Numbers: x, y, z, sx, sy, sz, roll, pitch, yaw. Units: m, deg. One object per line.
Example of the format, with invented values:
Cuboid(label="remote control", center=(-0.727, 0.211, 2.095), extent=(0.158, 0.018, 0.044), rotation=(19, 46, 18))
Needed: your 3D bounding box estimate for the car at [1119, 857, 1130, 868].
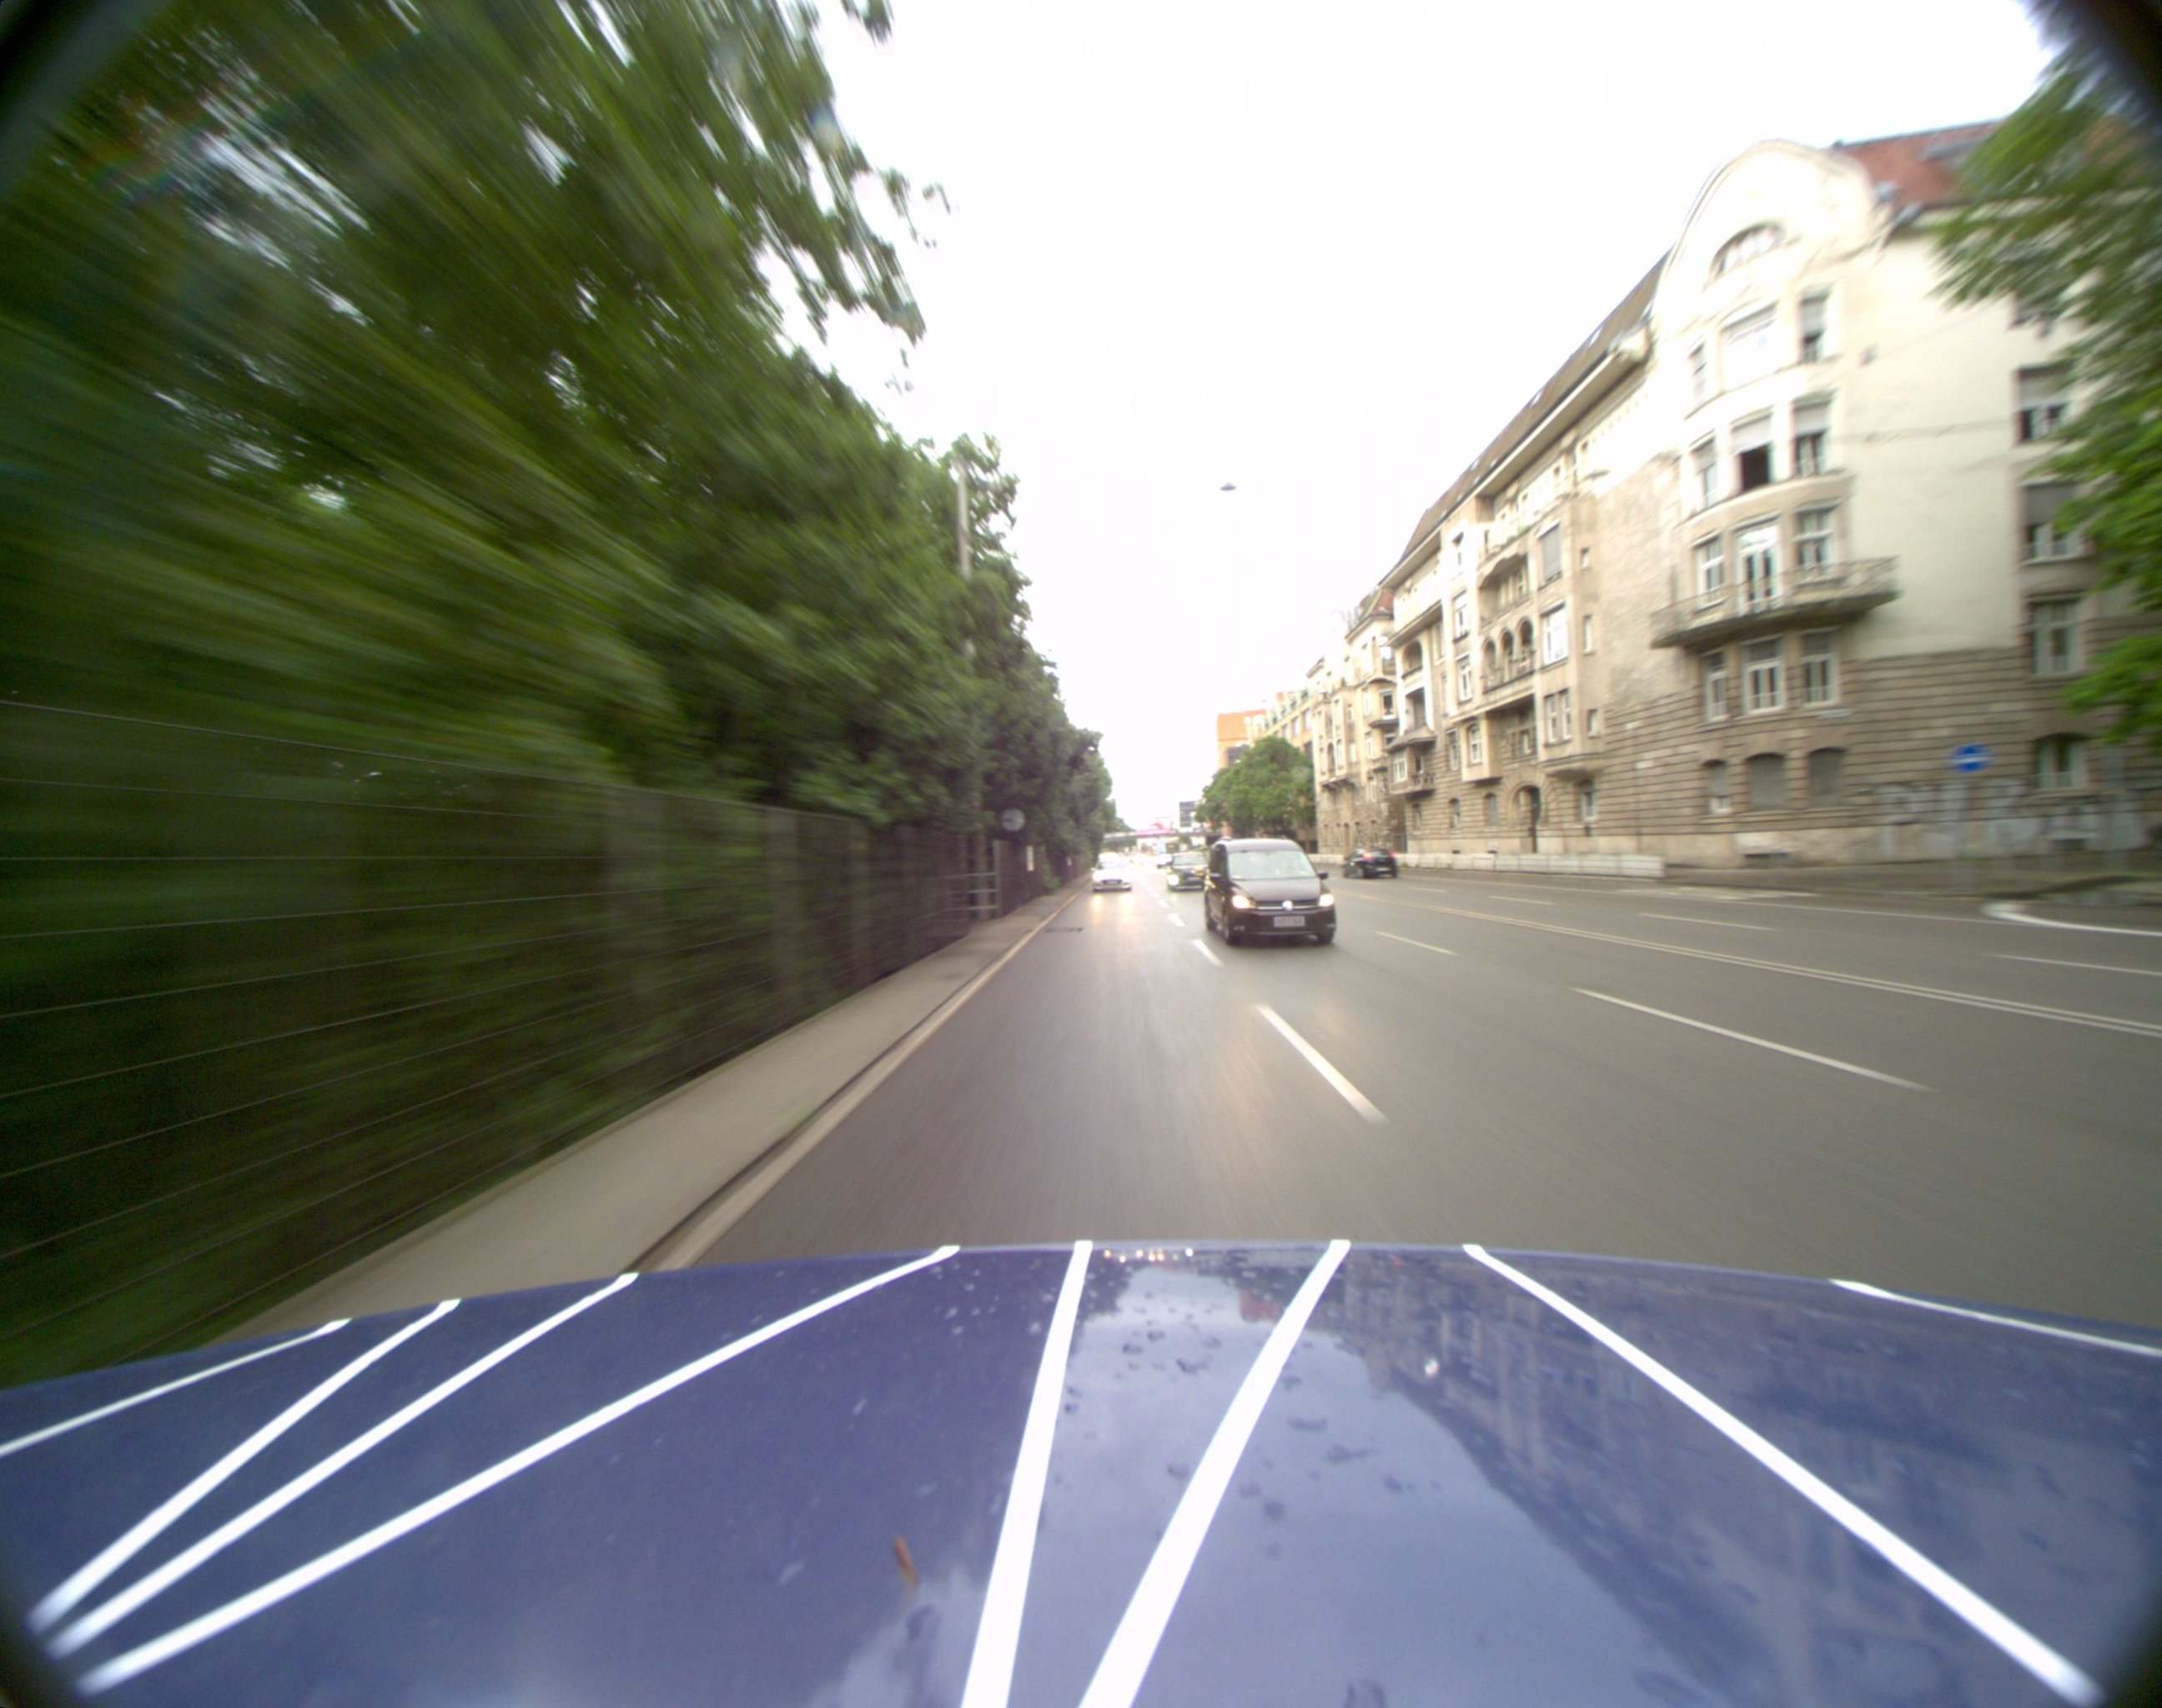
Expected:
Cuboid(label="car", center=(8.276, 1.548, 144.482), extent=(1.878, 1.762, 4.000), rotation=(-5, 1, 2))

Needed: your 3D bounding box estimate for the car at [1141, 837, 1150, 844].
Cuboid(label="car", center=(14.723, -3.126, 174.043), extent=(1.823, 1.602, 4.001), rotation=(-5, 1, 6))

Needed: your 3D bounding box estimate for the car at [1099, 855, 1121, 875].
Cuboid(label="car", center=(2.776, 1.004, 72.756), extent=(1.801, 1.587, 4.000), rotation=(-5, 1, 4))

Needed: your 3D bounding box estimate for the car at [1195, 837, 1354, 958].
Cuboid(label="car", center=(3.249, 0.676, 13.580), extent=(1.842, 1.780, 4.000), rotation=(-2, 0, 1))

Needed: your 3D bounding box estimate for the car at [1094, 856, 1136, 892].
Cuboid(label="car", center=(1.547, 0.909, 35.590), extent=(1.731, 1.431, 4.000), rotation=(-4, 0, 1))

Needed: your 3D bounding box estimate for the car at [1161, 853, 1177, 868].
Cuboid(label="car", center=(9.993, 0.769, 86.622), extent=(1.730, 1.502, 3.732), rotation=(-4, 0, 6))

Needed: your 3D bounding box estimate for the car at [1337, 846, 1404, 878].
Cuboid(label="car", center=(13.588, 0.359, 35.929), extent=(1.705, 1.331, 3.915), rotation=(-3, 0, 2))

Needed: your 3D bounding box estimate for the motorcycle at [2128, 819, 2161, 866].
Cuboid(label="motorcycle", center=(26.766, -0.282, 18.085), extent=(0.504, 1.135, 2.394), rotation=(-3, 0, 5))

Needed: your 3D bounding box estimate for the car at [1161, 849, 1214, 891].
Cuboid(label="car", center=(4.556, 0.643, 32.977), extent=(1.731, 1.604, 4.000), rotation=(-4, 0, 1))

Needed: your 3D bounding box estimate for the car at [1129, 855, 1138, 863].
Cuboid(label="car", center=(12.237, 1.171, 178.729), extent=(1.878, 1.762, 4.000), rotation=(-5, 1, 2))

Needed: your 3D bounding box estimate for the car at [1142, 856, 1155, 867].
Cuboid(label="car", center=(11.763, 1.277, 132.433), extent=(1.878, 1.762, 4.000), rotation=(-5, 1, 2))
